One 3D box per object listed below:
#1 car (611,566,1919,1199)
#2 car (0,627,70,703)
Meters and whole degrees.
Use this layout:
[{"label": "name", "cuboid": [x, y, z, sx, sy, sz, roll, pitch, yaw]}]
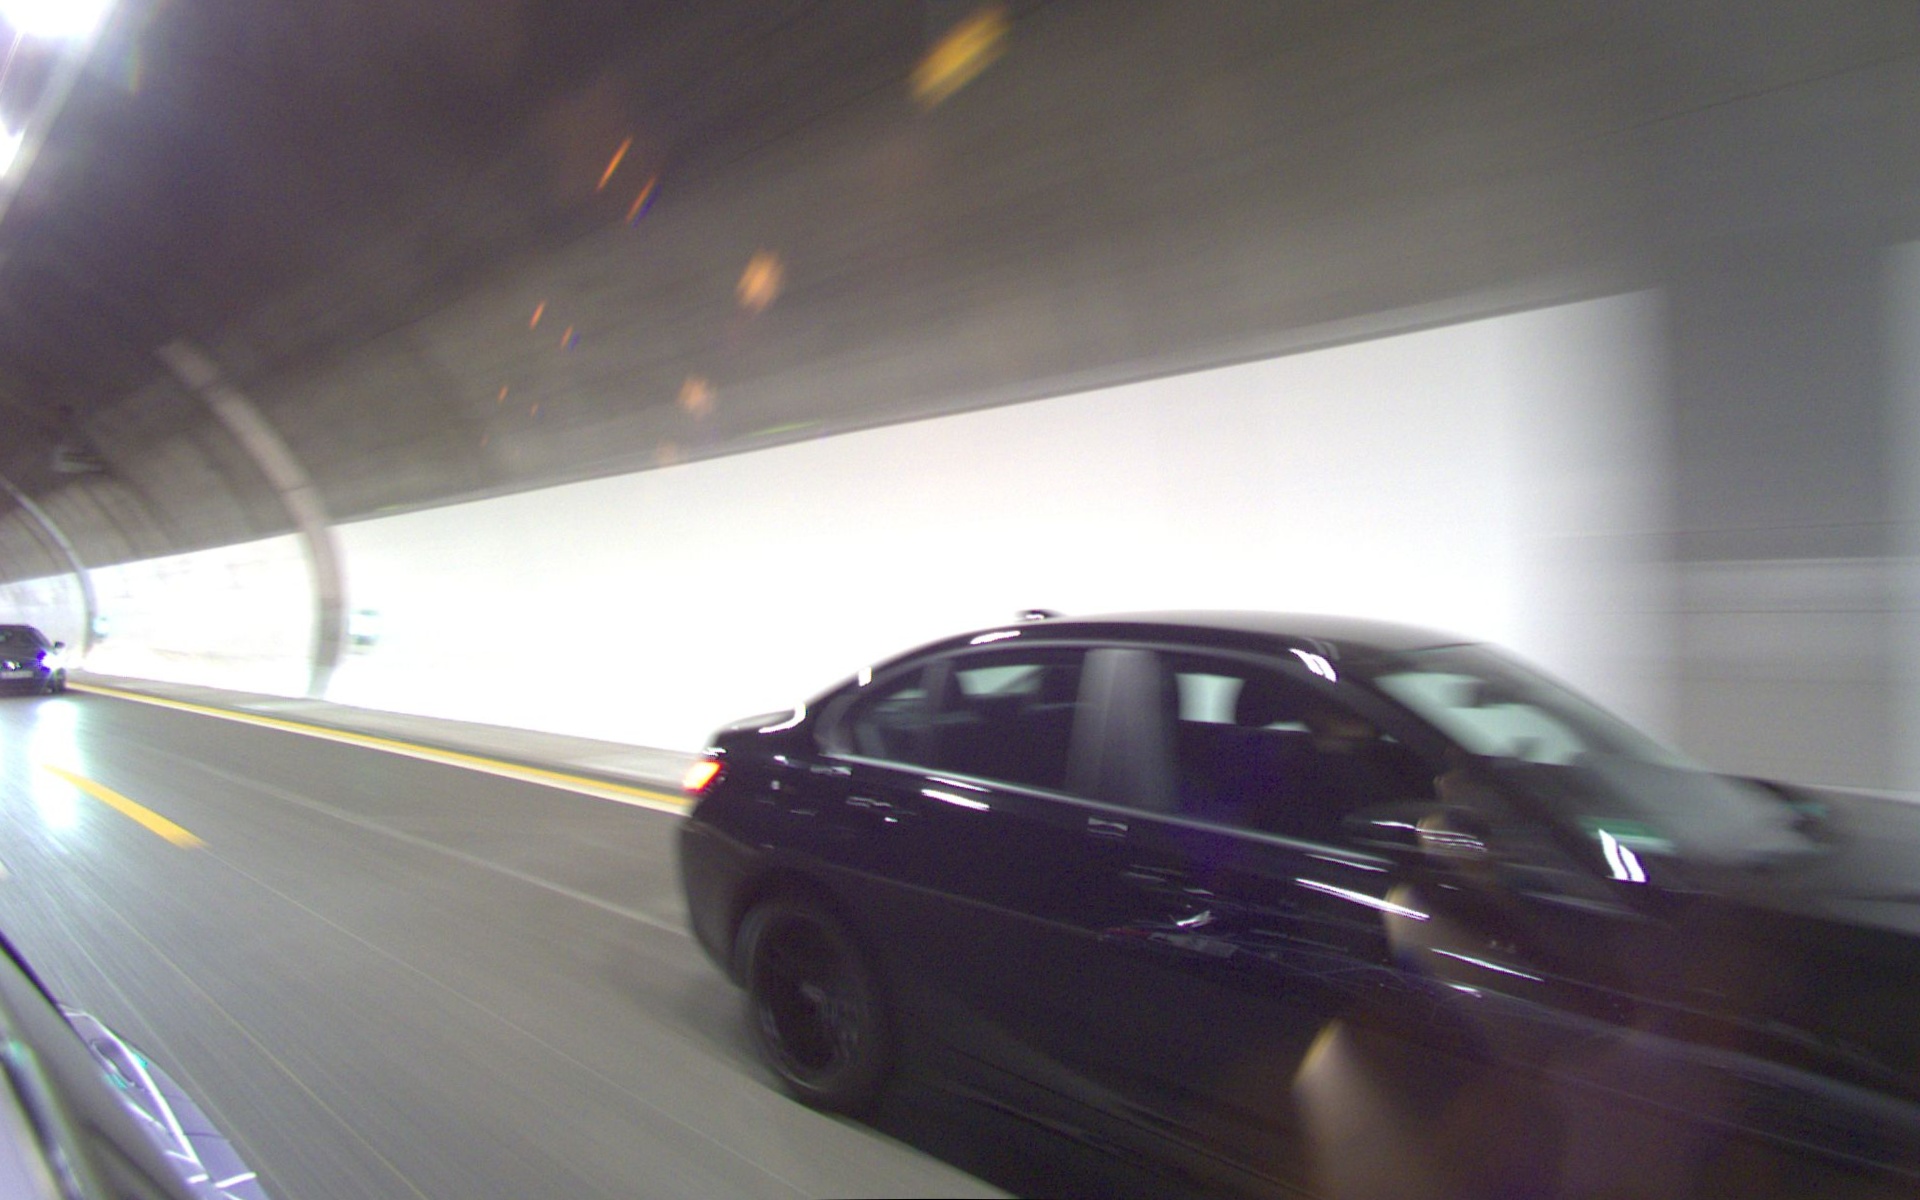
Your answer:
[{"label": "car", "cuboid": [1.182, 0.690, 2.578, 4.881, 1.449, 1.759, -2, -1, 42]}, {"label": "car", "cuboid": [-20.380, 1.324, 21.256, 4.878, 1.449, 1.760, -2, -1, 39]}]
